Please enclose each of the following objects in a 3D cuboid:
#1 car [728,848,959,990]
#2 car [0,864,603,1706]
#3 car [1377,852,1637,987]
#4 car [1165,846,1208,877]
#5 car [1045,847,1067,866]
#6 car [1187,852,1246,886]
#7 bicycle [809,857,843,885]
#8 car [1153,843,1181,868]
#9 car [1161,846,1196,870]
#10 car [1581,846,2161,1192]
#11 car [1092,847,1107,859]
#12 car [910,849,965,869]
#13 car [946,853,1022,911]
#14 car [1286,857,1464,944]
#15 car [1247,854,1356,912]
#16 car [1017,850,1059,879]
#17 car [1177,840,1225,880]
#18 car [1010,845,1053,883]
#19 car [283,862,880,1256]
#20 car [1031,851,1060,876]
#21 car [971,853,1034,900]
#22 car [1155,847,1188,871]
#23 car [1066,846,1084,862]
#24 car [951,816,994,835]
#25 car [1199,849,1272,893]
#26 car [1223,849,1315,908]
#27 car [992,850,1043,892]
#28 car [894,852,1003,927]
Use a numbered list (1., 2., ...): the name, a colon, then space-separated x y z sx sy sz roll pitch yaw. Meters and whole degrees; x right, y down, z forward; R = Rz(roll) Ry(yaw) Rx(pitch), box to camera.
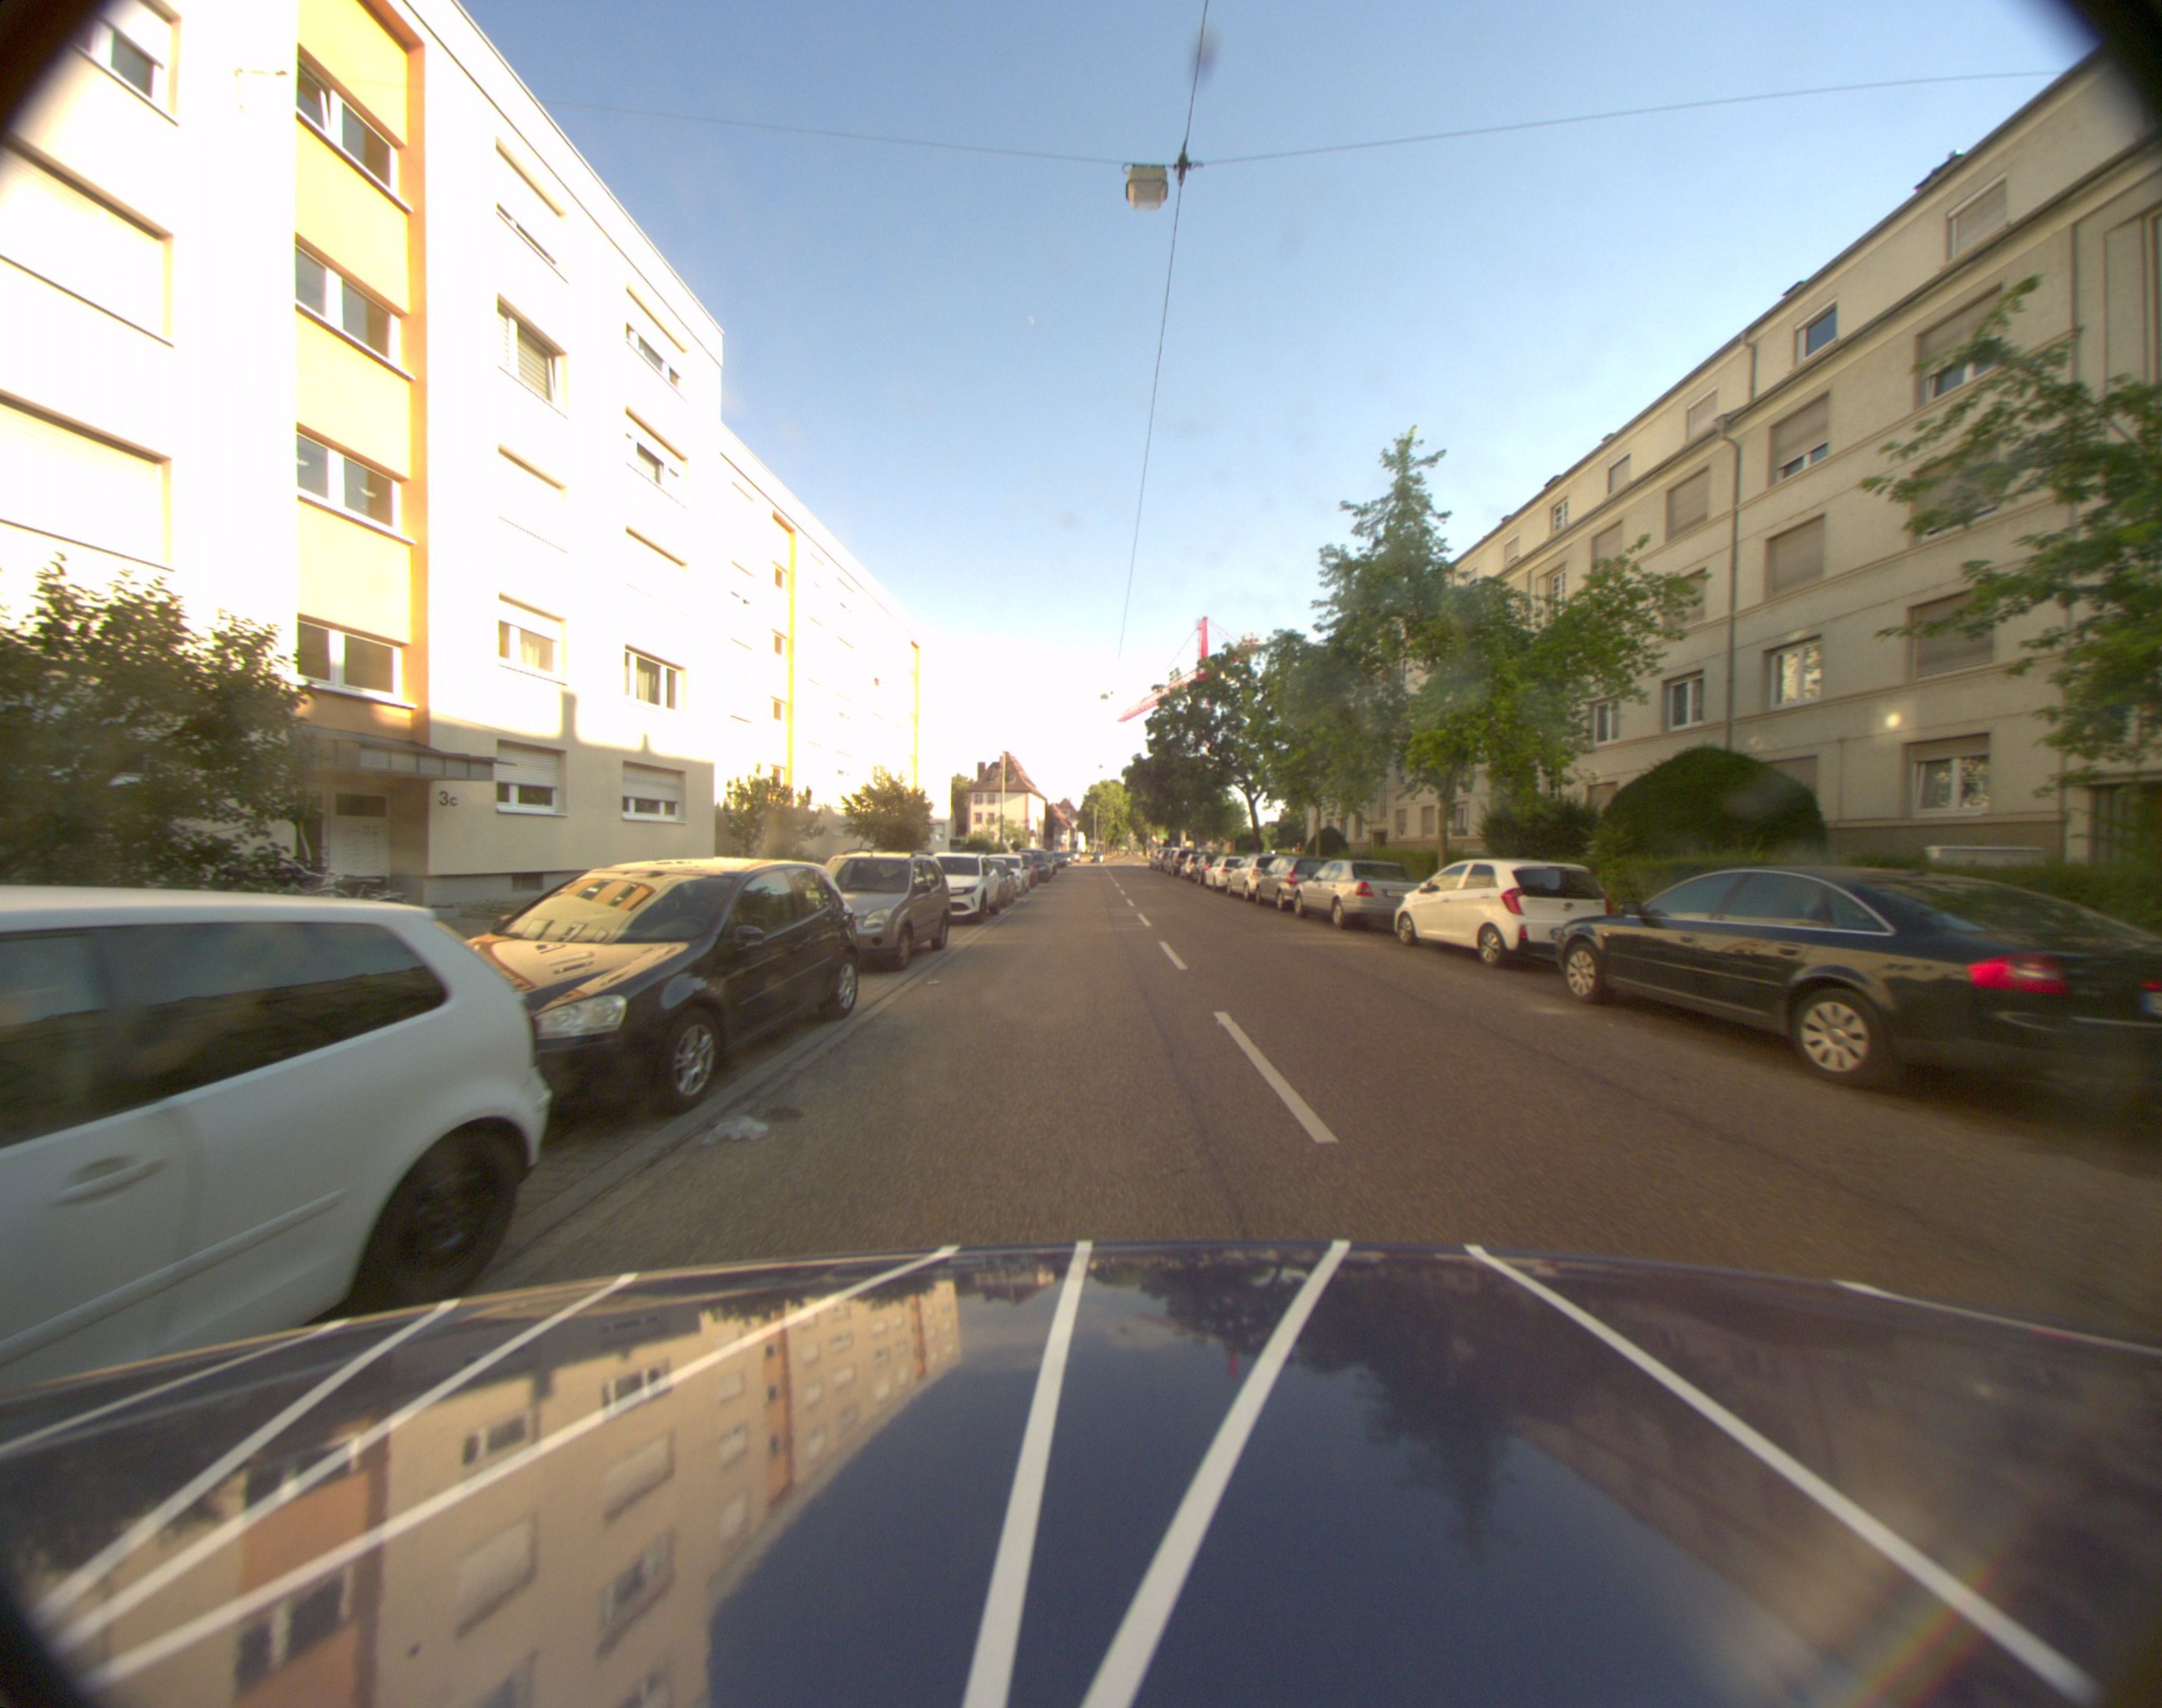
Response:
1. car: -3.221 0.770 11.342 1.967 1.596 4.278 -2 1 1
2. car: -3.016 0.889 1.124 1.841 1.493 4.171 3 2 2
3. car: 6.049 0.843 11.266 1.712 1.565 3.258 3 1 -6
4. car: 6.507 0.415 47.441 1.878 1.749 4.687 1 1 -2
5. car: -2.268 0.204 68.603 1.891 1.553 4.944 1 1 -2
6. car: 6.437 0.657 36.640 1.878 1.426 4.802 1 1 -1
7. bicycle: -9.462 0.617 28.225 0.438 0.936 1.791 -1 2 7
8. car: 7.087 0.101 63.056 1.846 1.886 4.486 -3 1 2
9. car: 6.814 0.269 53.516 1.878 1.543 3.998 -2 1 -1
10. car: 5.706 0.798 5.455 1.711 1.565 3.819 3 2 2
11. car: 2.371 -0.080 98.328 1.775 1.492 3.673 0 0 -2
12. car: -12.786 0.448 67.728 4.486 1.593 1.732 1 2 4
13. car: -2.839 0.773 23.064 1.665 1.430 4.312 -2 1 1
14. car: 6.042 0.861 16.322 1.878 1.348 4.652 4 1 -1
15. car: 6.139 0.740 21.623 1.878 1.348 3.998 -2 1 -1
16. car: -2.429 0.578 44.043 1.775 1.499 4.001 -1 1 6
17. car: 6.560 0.286 41.880 1.998 2.002 3.999 2 2 1
18. car: -2.503 0.466 39.432 1.776 1.668 4.645 4 2 1
19. car: -3.055 1.060 5.813 1.842 1.762 3.977 3 2 1
20. car: -2.333 0.596 50.955 1.803 1.498 4.620 0 2 -1
21. car: -2.842 0.762 28.359 1.776 1.445 3.999 -3 1 1
22. car: 6.857 0.352 58.080 1.878 1.543 3.998 -4 2 -1
23. car: -0.739 -0.015 100.042 1.925 1.769 4.810 4 2 3
24. car: -11.075 -2.937 77.993 3.996 1.784 2.000 -2 2 2
25. car: 6.248 0.651 31.275 2.009 1.543 4.470 -2 1 -1
26. car: 6.282 0.775 25.910 1.878 1.543 3.998 8 1 -1
27. car: -2.778 0.702 33.905 1.776 1.607 3.999 -3 1 1
28. car: -2.954 0.739 17.805 1.878 1.434 3.998 -1 1 -1
